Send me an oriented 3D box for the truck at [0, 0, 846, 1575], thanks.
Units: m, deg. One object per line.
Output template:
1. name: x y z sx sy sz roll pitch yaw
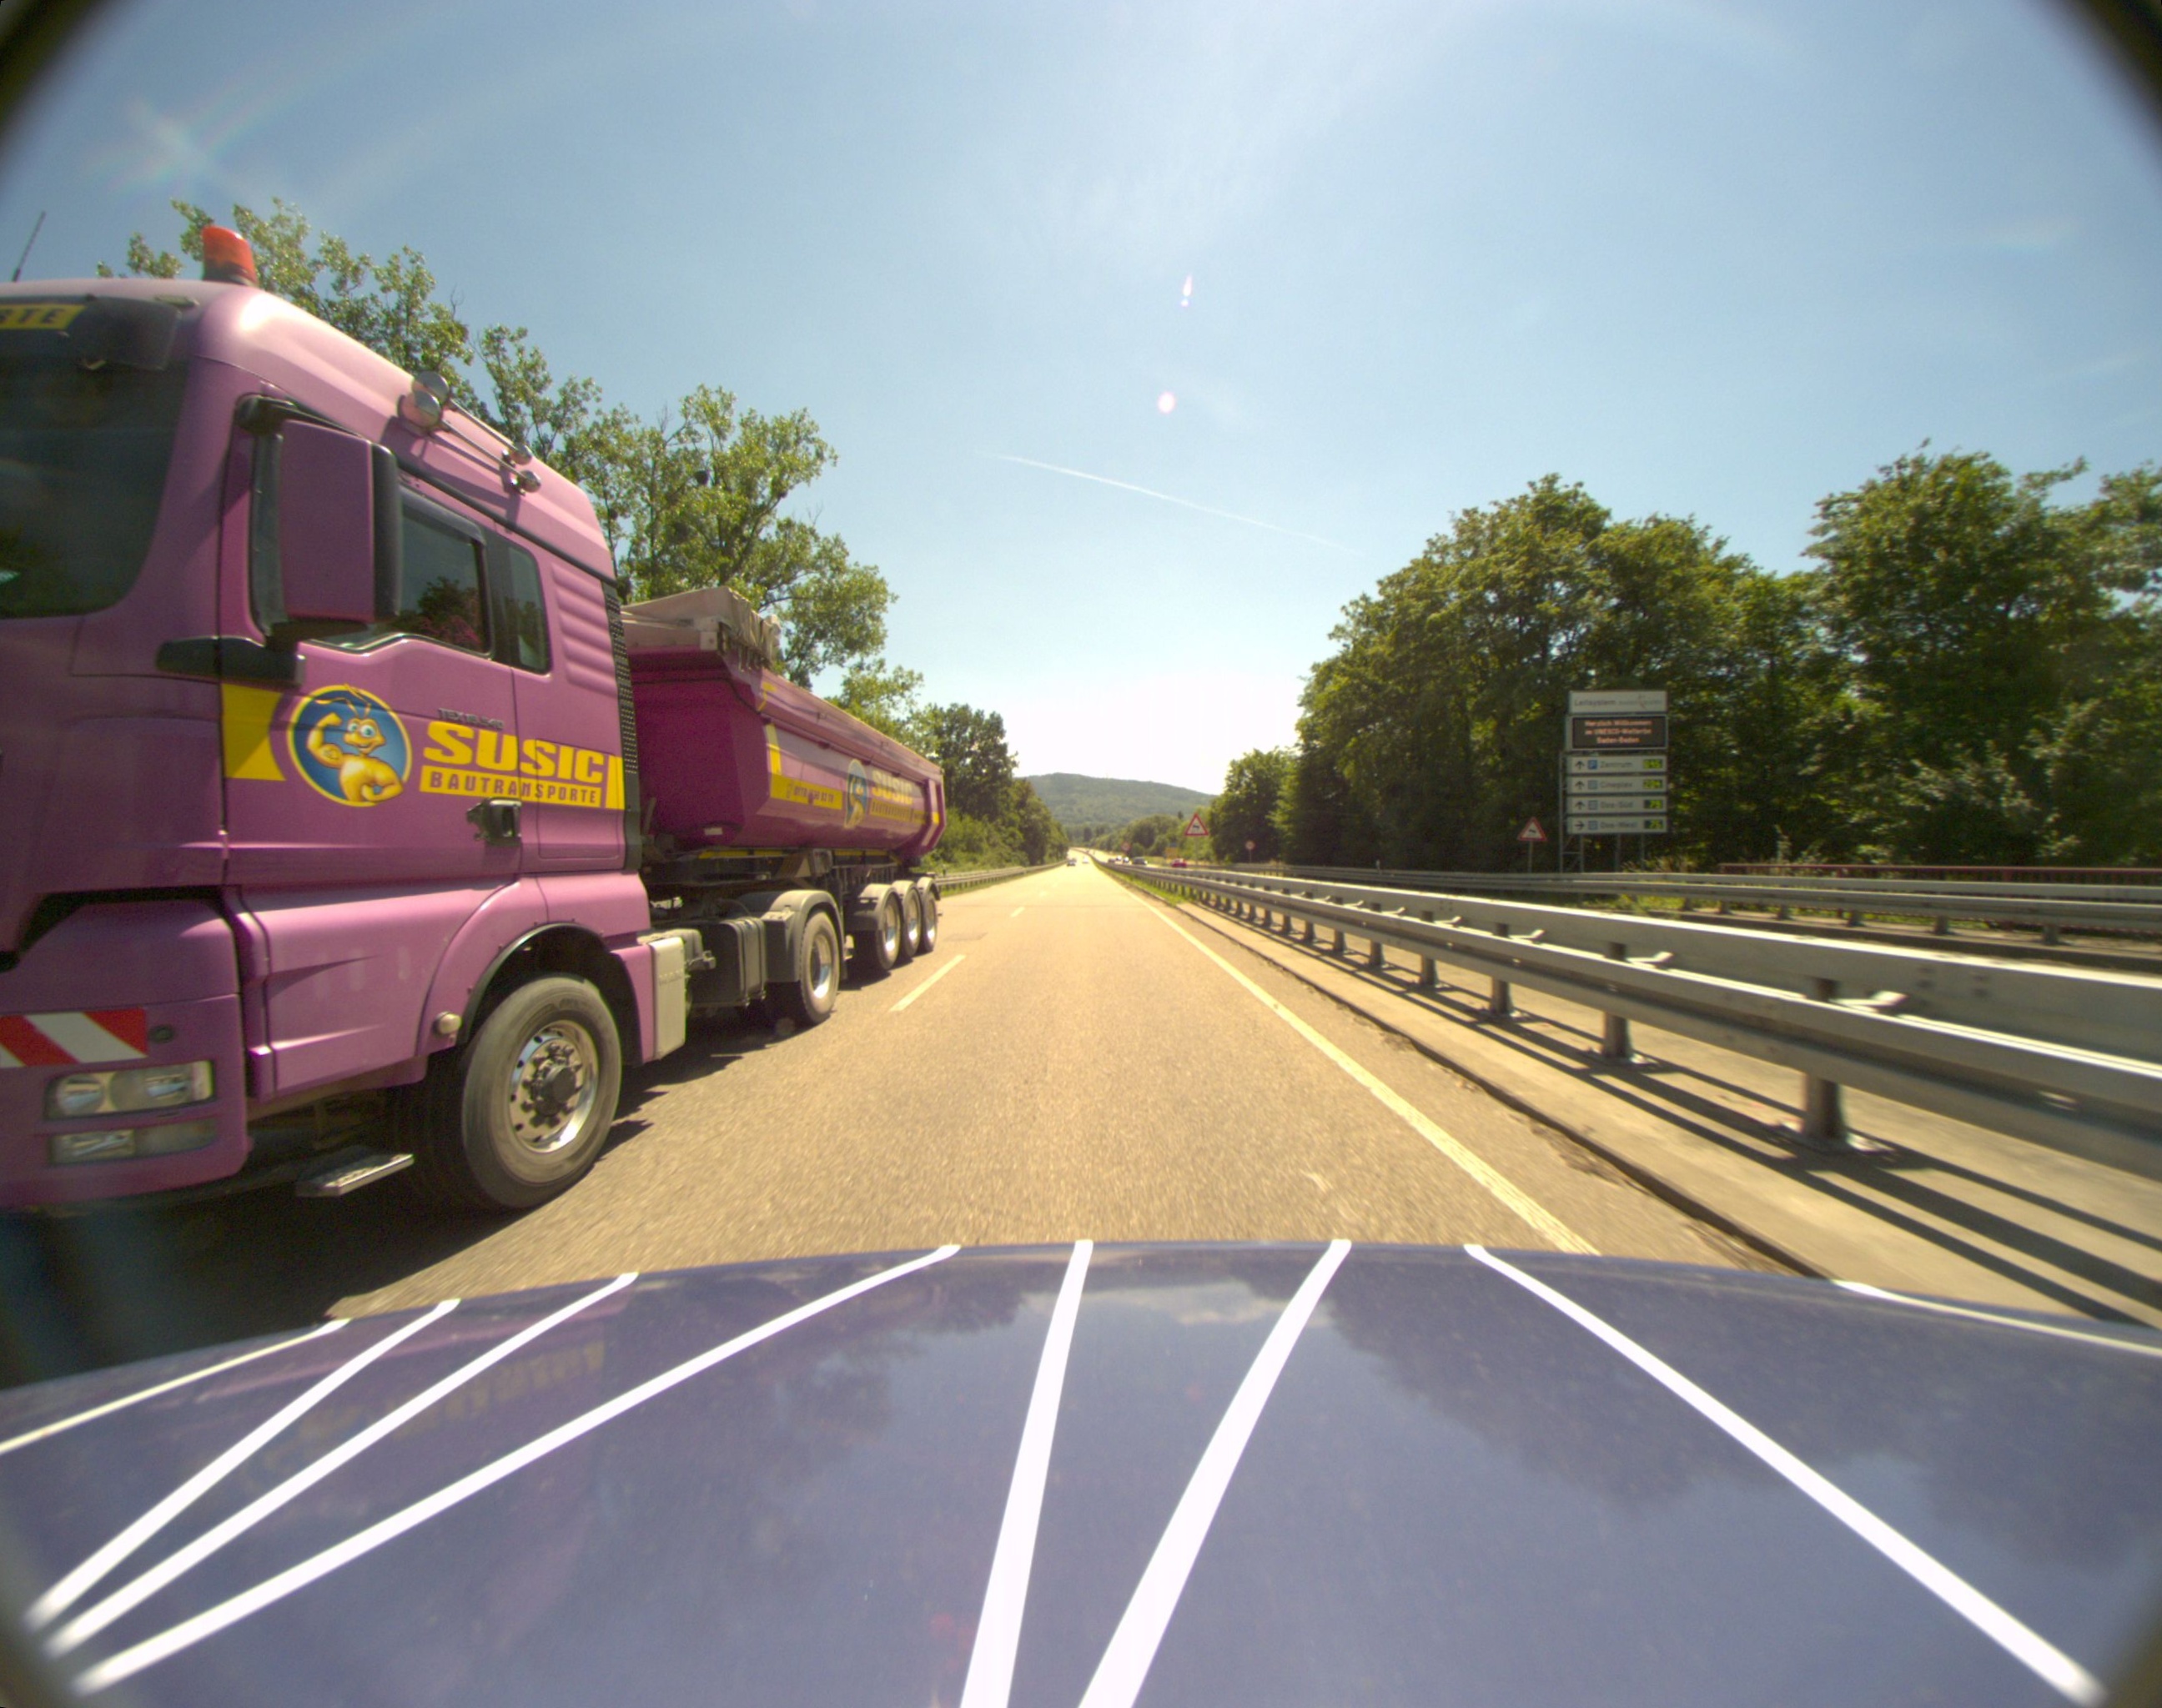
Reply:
1. truck: -3.747 -0.107 4.721 2.605 3.670 5.938 -2 0 0

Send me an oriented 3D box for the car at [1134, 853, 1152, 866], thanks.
1. car: 8.227 0.752 100.900 1.998 1.652 4.389 -1 0 1

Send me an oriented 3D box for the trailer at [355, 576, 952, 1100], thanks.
1. trailer: -3.730 -0.106 9.658 2.605 3.608 8.613 -2 0 0

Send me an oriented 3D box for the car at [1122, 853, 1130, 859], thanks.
1. car: 12.357 0.523 210.409 1.998 1.652 4.388 -1 0 0

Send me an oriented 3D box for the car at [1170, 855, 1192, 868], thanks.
1. car: 11.779 0.899 89.762 1.998 1.485 5.444 -1 0 1

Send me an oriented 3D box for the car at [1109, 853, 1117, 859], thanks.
1. car: 8.699 0.459 205.449 1.998 1.652 4.389 -1 0 1
